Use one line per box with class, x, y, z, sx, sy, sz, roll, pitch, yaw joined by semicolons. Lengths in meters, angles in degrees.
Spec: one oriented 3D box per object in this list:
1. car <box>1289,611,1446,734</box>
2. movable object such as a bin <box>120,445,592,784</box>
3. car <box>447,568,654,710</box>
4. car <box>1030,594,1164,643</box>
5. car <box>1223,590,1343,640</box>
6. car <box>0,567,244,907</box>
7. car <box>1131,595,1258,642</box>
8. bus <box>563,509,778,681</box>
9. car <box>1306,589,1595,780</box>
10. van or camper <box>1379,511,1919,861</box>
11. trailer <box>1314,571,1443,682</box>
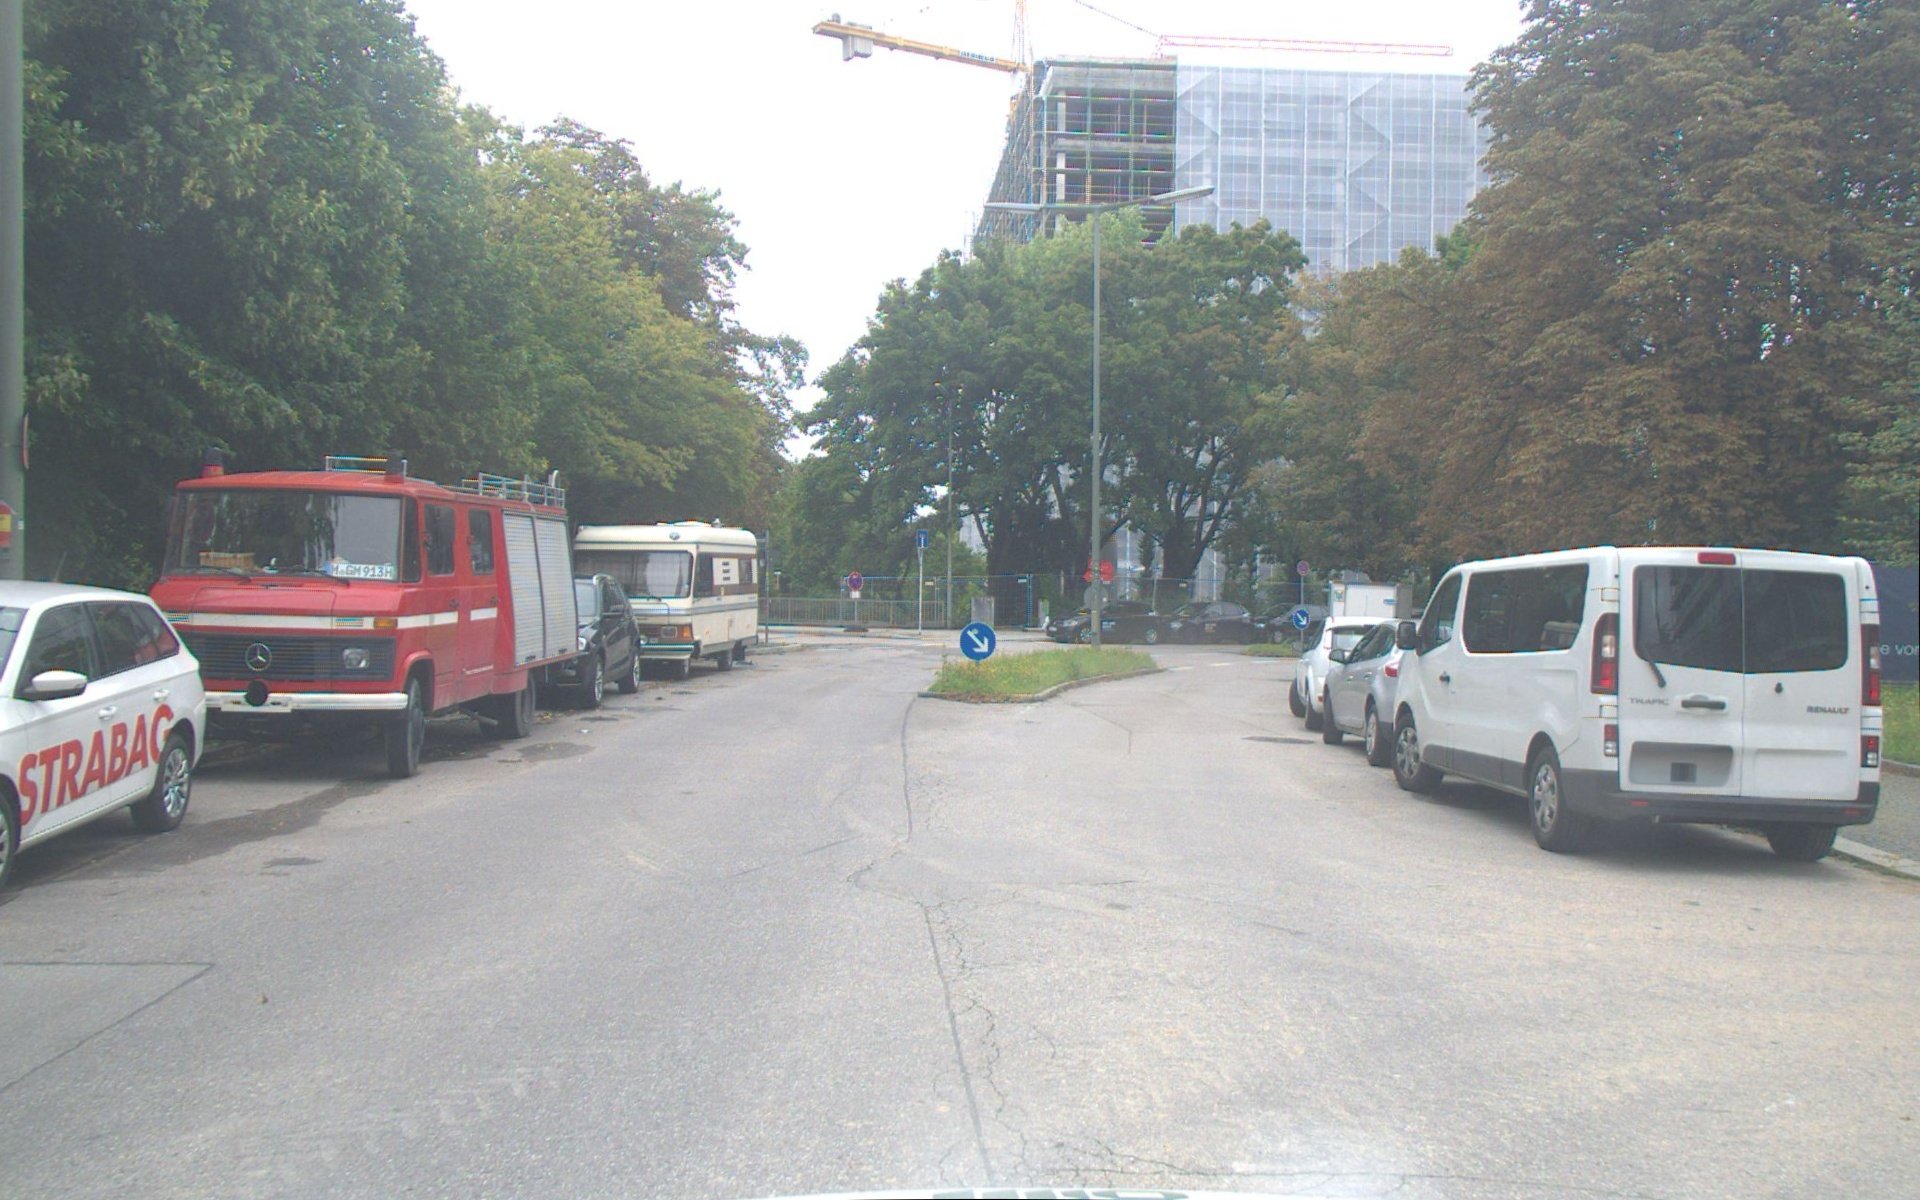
car;5.606;0.937;23.201;1.729;1.512;4.224;1;0;8
movable object such as a bin;-5.192;0.095;15.427;2.061;2.501;6.187;1;0;0
car;-5.332;0.464;22.097;1.740;1.678;4.459;1;0;-2
car;4.520;0.613;54.636;3.987;1.457;1.980;1;2;-30
car;11.643;0.544;59.553;3.946;1.736;1.980;1;0;-31
car;-5.426;0.615;8.788;1.742;1.577;4.252;1;0;-6
car;8.054;0.635;56.733;3.946;1.568;1.980;1;0;-31
bus;-4.998;-0.099;29.560;2.266;2.746;5.738;1;0;6
car;5.058;0.801;17.726;1.952;1.758;4.451;1;0;3
van or camper;4.791;0.523;12.534;1.952;2.049;5.377;1;0;1
trailer;8.505;0.520;33.336;1.772;2.049;4.832;1;0;23
